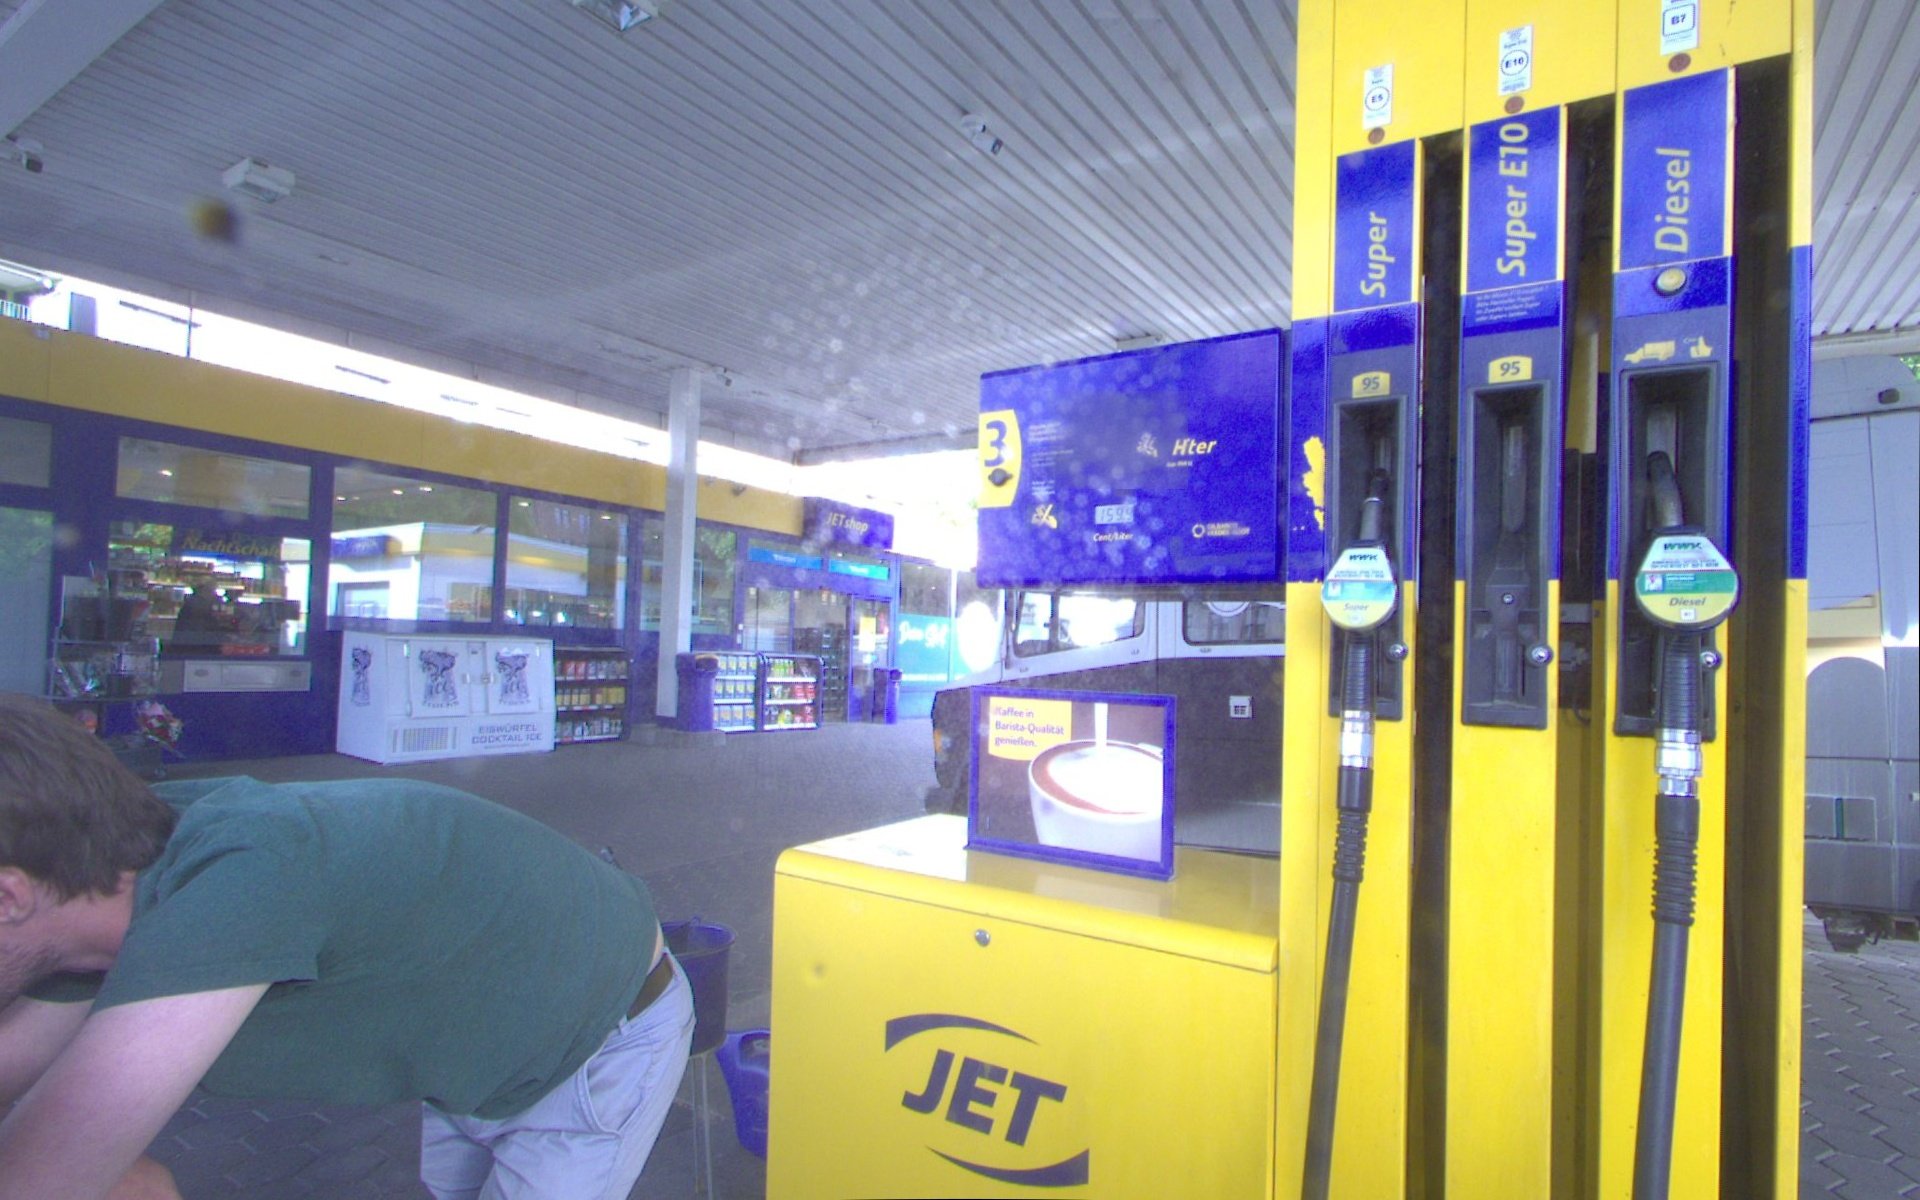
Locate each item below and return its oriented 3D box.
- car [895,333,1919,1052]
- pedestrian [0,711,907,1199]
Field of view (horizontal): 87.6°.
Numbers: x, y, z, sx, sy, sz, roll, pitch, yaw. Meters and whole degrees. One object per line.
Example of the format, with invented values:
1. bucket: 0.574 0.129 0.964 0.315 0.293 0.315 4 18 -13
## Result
1. car: 2.386 0.410 6.013 5.219 2.724 2.250 0 -3 34
2. pedestrian: -0.537 0.805 1.068 0.664 1.298 0.749 -1 -1 31
